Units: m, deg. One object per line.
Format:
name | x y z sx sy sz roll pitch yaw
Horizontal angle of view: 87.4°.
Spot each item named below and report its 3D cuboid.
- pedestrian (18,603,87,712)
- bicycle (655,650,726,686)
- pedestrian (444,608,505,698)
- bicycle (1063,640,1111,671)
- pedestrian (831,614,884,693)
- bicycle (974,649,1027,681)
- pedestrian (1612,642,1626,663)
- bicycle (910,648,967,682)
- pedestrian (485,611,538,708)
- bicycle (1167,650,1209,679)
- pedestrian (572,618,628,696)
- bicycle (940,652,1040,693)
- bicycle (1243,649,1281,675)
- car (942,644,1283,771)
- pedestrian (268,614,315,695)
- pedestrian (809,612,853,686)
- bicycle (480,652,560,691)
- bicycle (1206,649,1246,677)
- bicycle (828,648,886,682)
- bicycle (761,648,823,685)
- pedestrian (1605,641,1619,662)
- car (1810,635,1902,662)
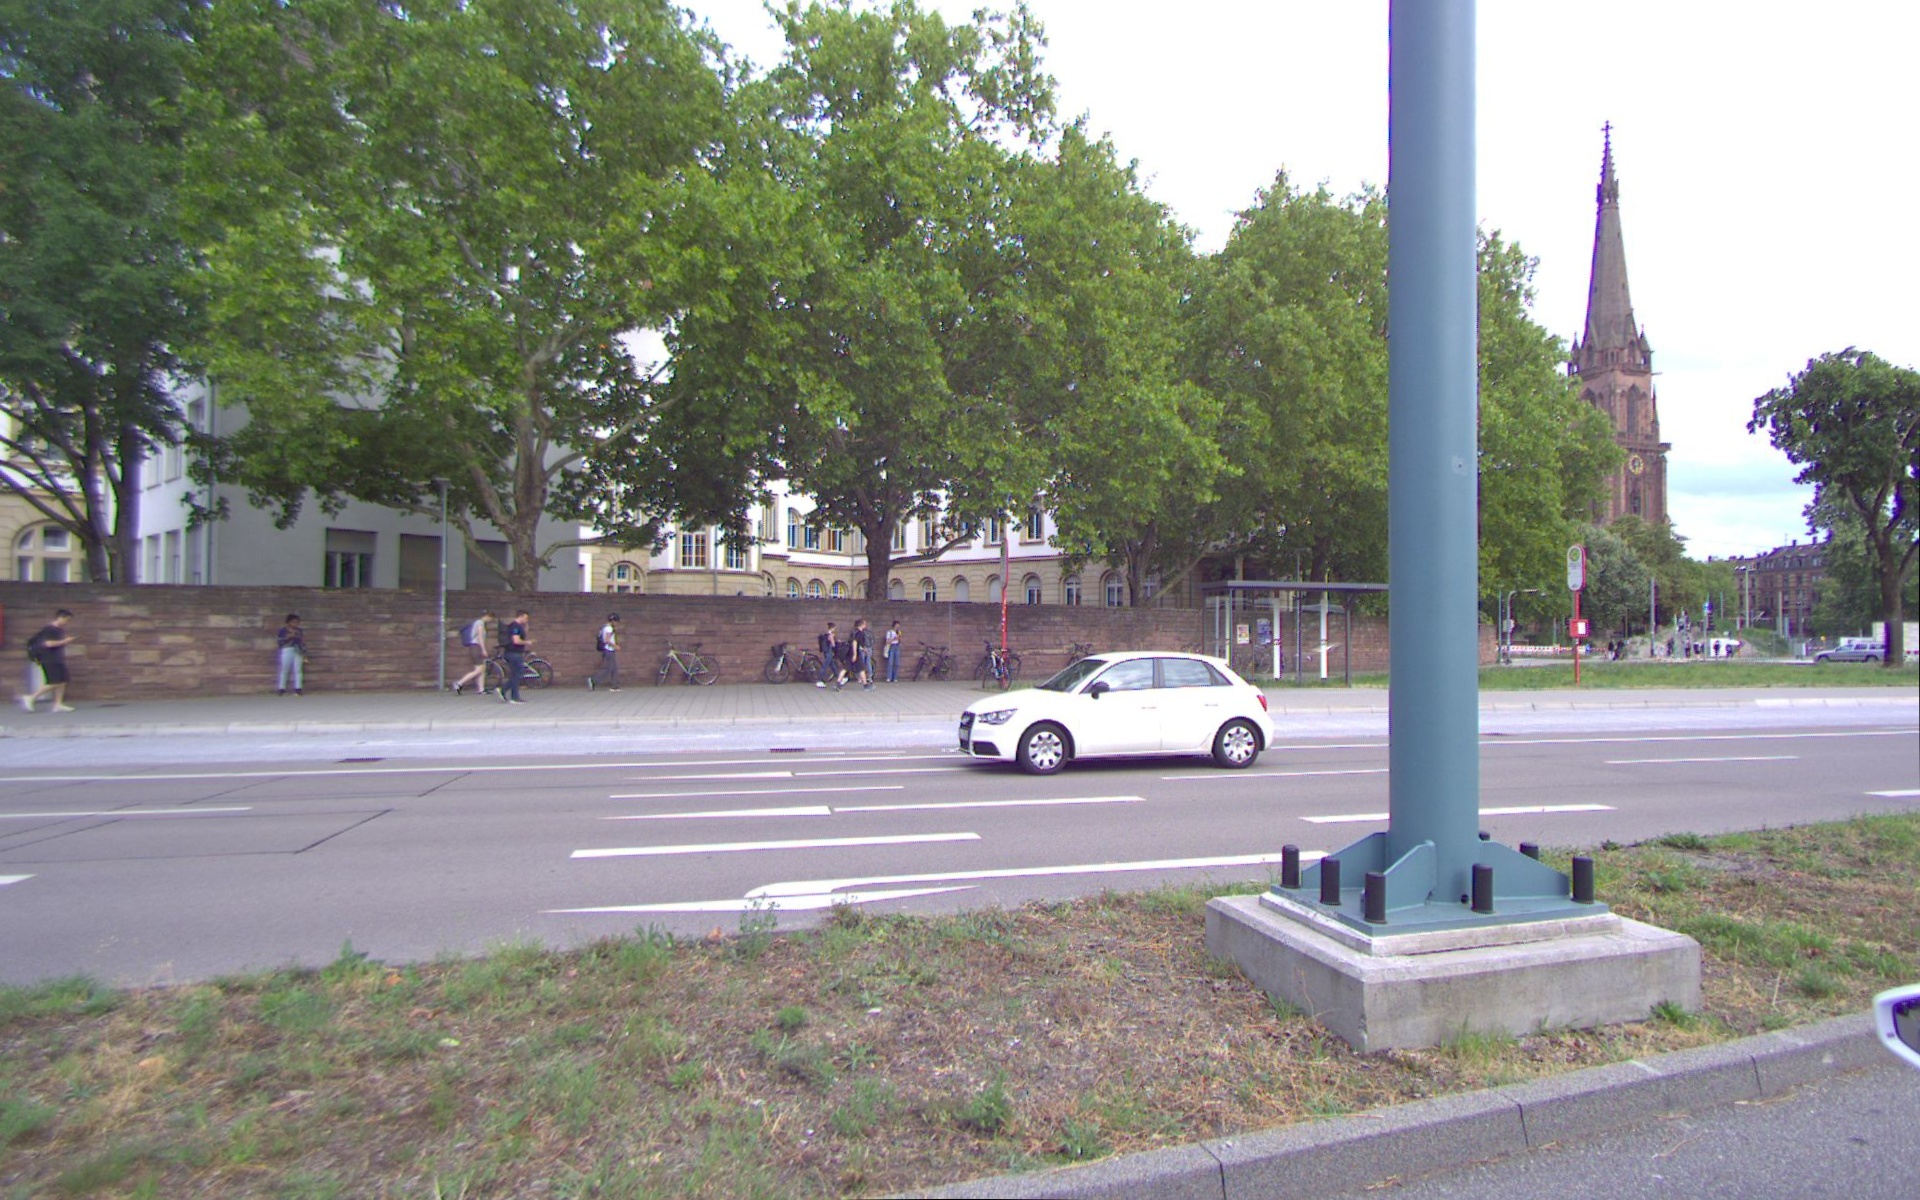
pedestrian | -15.449 0.972 17.119 0.778 1.806 0.752 3 -2 -41
bicycle | -6.606 1.652 24.656 1.602 0.838 0.438 2 0 -31
pedestrian | -10.092 1.096 20.893 0.908 1.806 0.752 3 -2 -42
bicycle | 3.969 1.720 31.332 1.605 0.919 0.477 2 0 -36
pedestrian | -2.402 1.240 23.497 0.917 1.806 0.752 3 -2 -42
bicycle | 1.200 1.907 29.445 1.604 0.890 0.438 2 0 -34
pedestrian | 50.382 3.995 76.782 0.714 1.581 0.561 0 -2 -19
bicycle | -0.589 1.817 28.243 1.604 0.890 0.438 2 0 -34
pedestrian | -8.658 1.130 19.371 0.715 1.806 0.753 3 -1 -37
bicycle | 7.754 2.170 34.117 1.606 0.919 0.477 2 0 -38
pedestrian | -8.057 1.261 22.487 0.917 1.693 0.752 3 -2 -42
bicycle | 0.686 1.679 23.366 2.295 0.931 0.471 1 -1 -6
bicycle | 11.031 2.257 36.689 1.606 0.919 0.477 2 0 -38
car | 1.817 1.258 12.450 3.854 1.407 1.672 1 -3 -13
pedestrian | -13.598 1.110 20.424 0.728 1.613 0.582 3 -2 -36
pedestrian | -3.220 1.217 25.065 0.778 1.806 0.752 3 -2 -41
bicycle | -9.961 1.601 22.745 1.602 0.838 0.438 2 0 -31
bicycle | 9.416 2.215 35.530 1.606 0.919 0.477 2 0 -38
bicycle | -2.752 1.732 26.910 1.504 0.890 0.345 2 0 -31
bicycle | -4.329 1.706 25.925 1.538 0.890 0.414 2 0 -31
pedestrian | 50.483 4.010 77.813 0.714 1.581 0.561 0 -2 -19
car | 57.807 3.123 64.897 1.621 1.671 4.151 1 -2 -18
